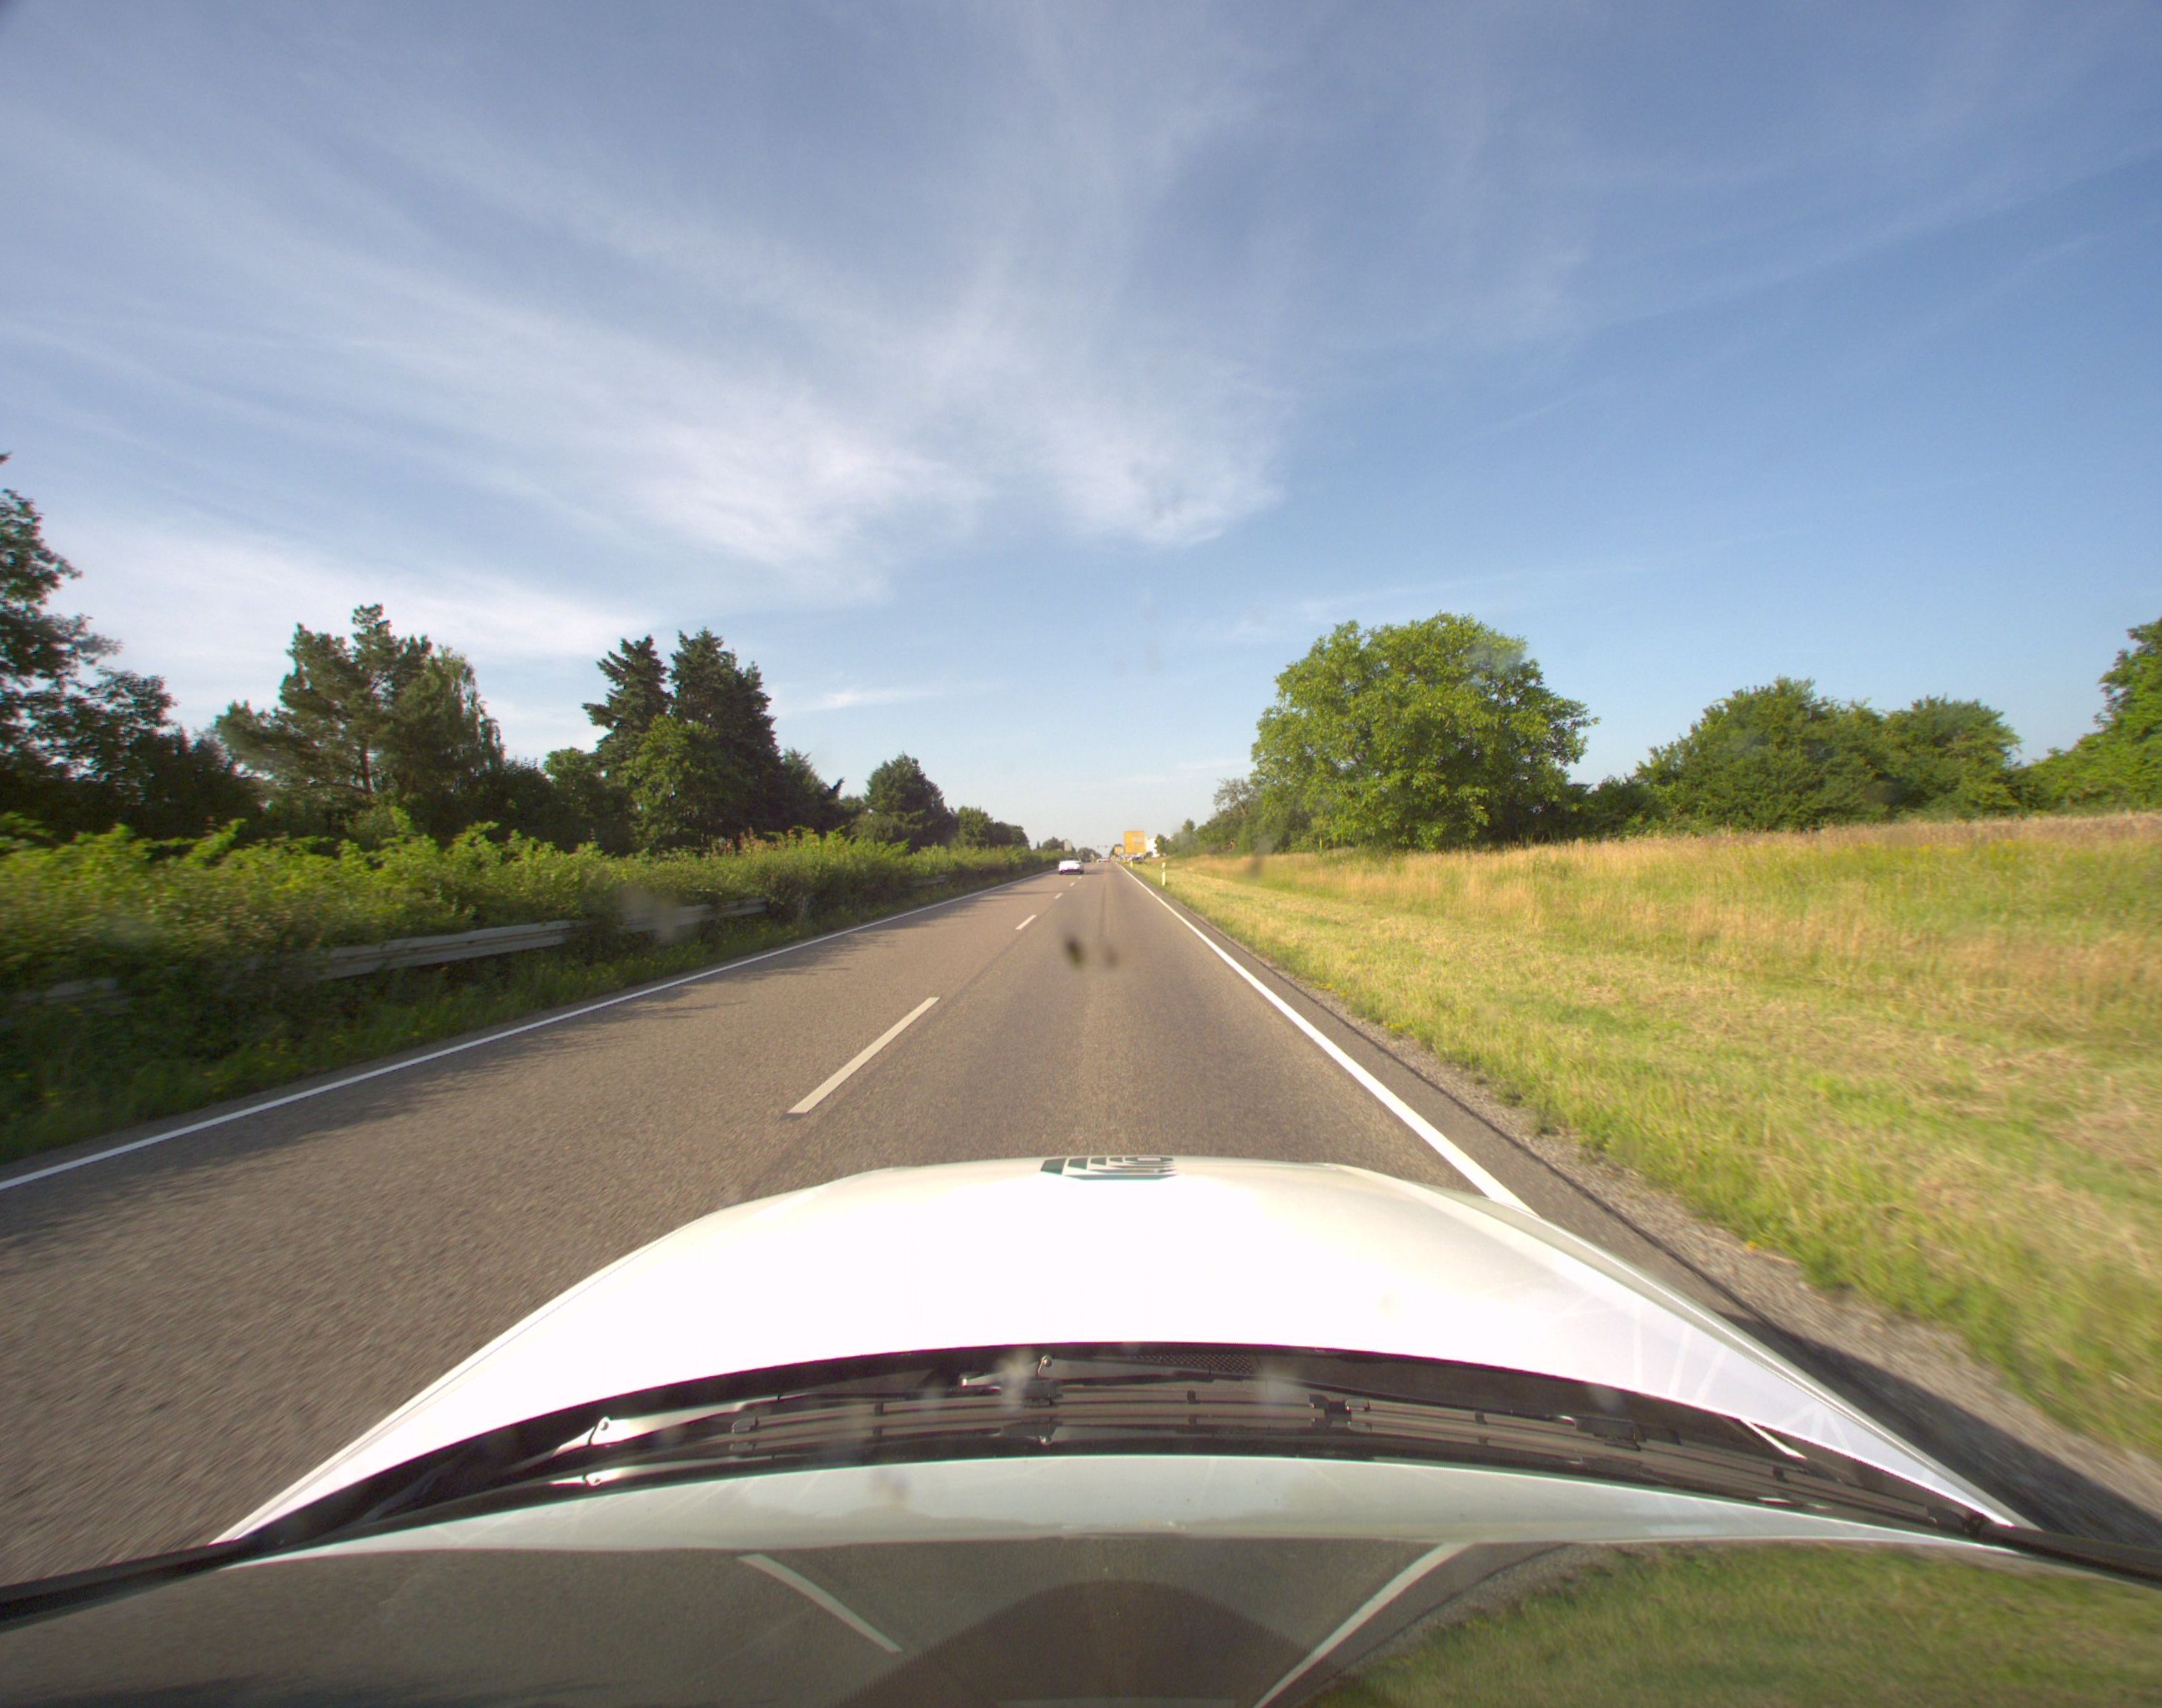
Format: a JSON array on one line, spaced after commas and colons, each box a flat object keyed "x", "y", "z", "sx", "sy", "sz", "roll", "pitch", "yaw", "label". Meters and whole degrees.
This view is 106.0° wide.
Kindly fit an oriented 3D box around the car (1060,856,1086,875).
[{"x": -0.581, "y": 0.863, "z": 64.239, "sx": 1.903, "sy": 1.422, "sz": 4.001, "roll": -1, "pitch": 0, "yaw": 1, "label": "car"}]
